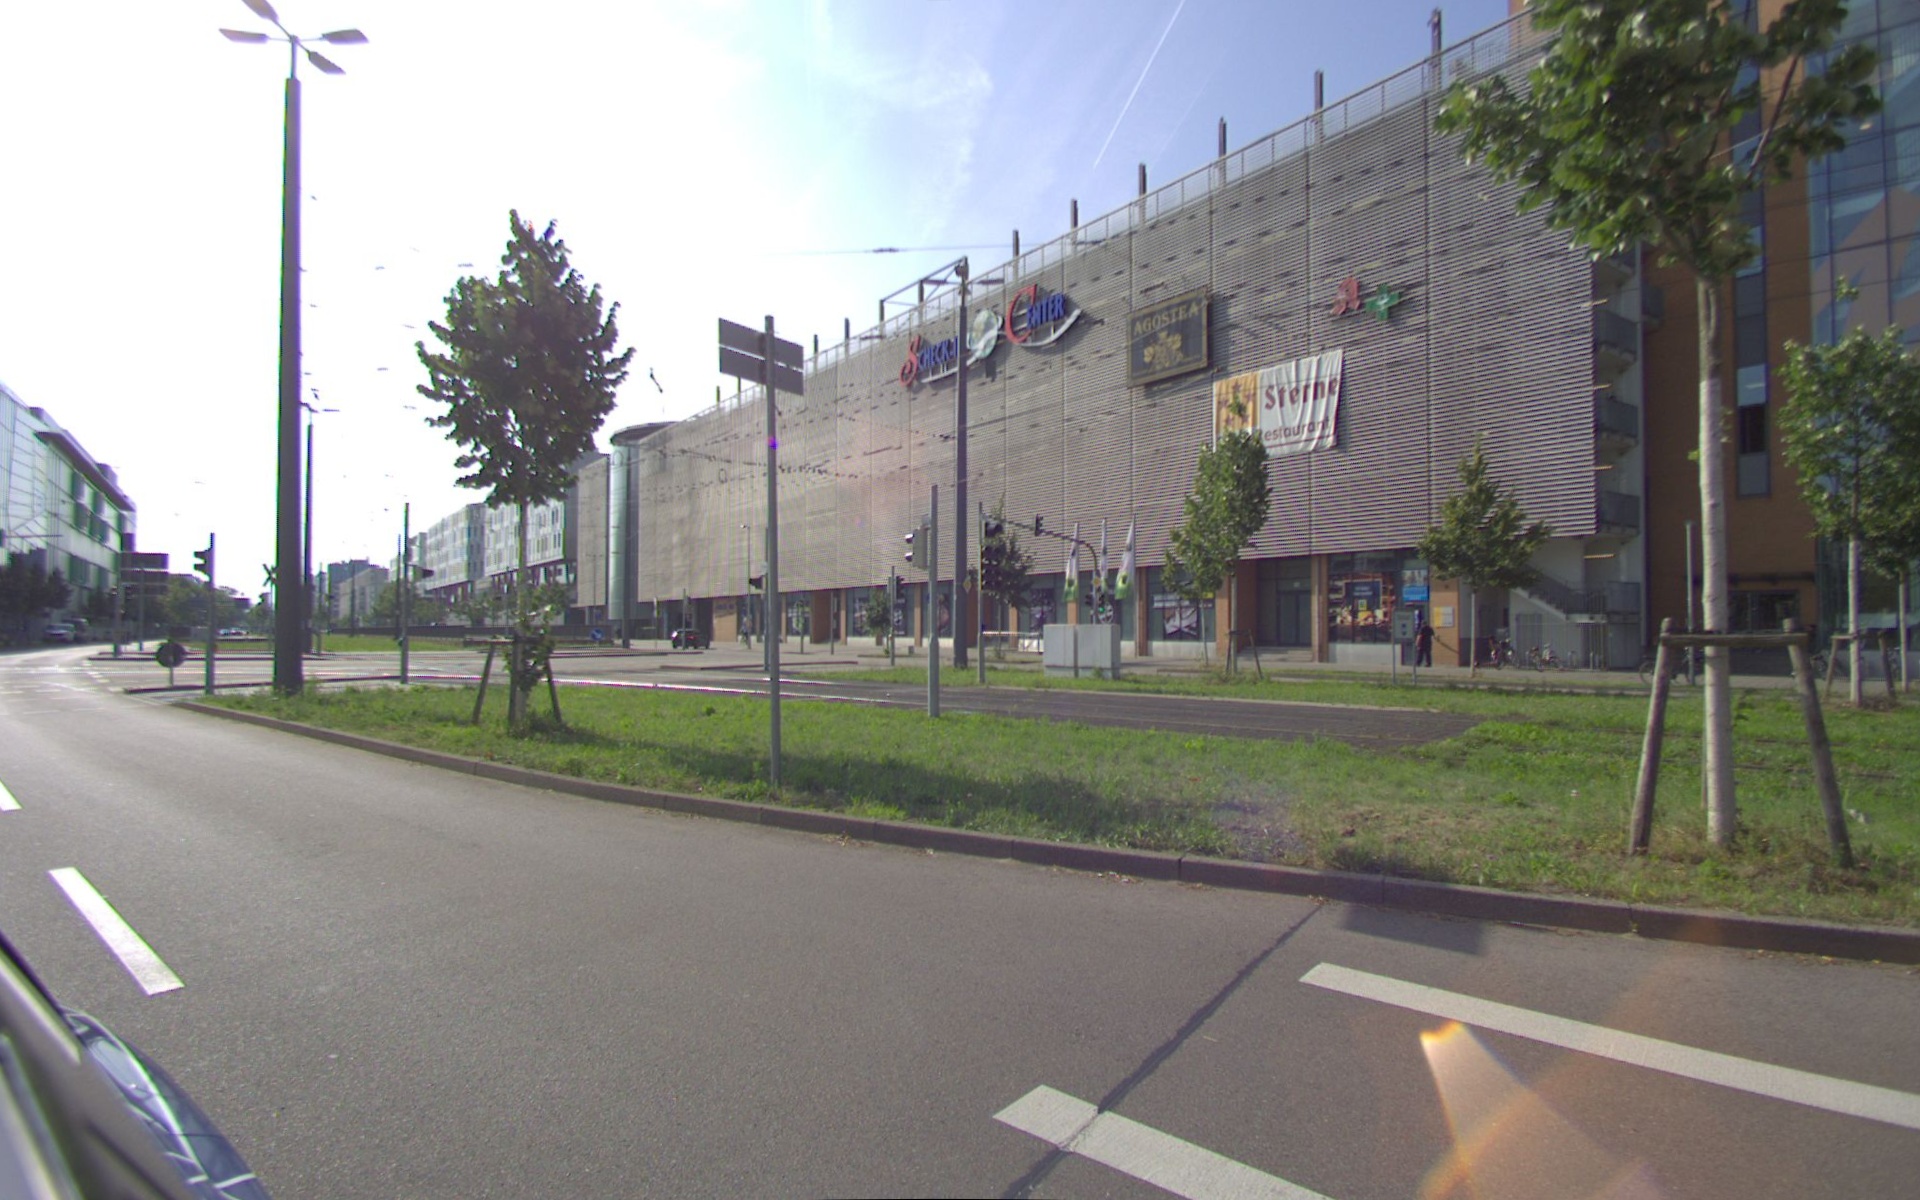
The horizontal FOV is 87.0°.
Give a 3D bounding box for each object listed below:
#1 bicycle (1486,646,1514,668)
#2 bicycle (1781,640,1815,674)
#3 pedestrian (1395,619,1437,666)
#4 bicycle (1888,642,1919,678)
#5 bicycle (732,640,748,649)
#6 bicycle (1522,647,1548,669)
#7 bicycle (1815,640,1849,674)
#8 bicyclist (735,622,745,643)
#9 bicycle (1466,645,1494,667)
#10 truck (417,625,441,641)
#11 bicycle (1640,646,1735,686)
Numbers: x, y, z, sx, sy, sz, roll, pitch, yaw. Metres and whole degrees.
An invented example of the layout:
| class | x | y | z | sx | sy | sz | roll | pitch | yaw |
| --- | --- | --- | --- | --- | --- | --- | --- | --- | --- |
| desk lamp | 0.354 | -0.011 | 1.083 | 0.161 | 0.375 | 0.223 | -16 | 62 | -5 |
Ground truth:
| class | x | y | z | sx | sy | sz | roll | pitch | yaw |
| --- | --- | --- | --- | --- | --- | --- | --- | --- | --- |
| bicycle | 19.208 | 2.018 | 35.998 | 0.989 | 0.758 | 0.453 | 1 | -2 | -35 |
| bicycle | 24.911 | 1.683 | 30.069 | 1.558 | 0.947 | 0.412 | 1 | -2 | -37 |
| pedestrian | 17.376 | 1.614 | 38.598 | 0.806 | 1.732 | 1.179 | 1 | -2 | -36 |
| bicycle | 26.345 | 1.662 | 28.206 | 1.558 | 0.947 | 0.412 | 1 | -2 | -37 |
| bicycle | -17.982 | 3.627 | 82.609 | 0.573 | 0.785 | 1.873 | 1 | -2 | -36 |
| bicycle | 19.888 | 2.005 | 35.015 | 1.007 | 0.758 | 0.362 | 1 | -2 | -35 |
| bicycle | 25.387 | 1.659 | 29.456 | 1.558 | 0.947 | 0.412 | 1 | -2 | -37 |
| bicyclist | -17.957 | 2.657 | 82.624 | 0.559 | 1.642 | 0.716 | 2 | -1 | -37 |
| bicycle | 18.817 | 2.026 | 36.619 | 0.989 | 0.758 | 0.453 | 1 | -2 | -35 |
| truck | -80.813 | 5.047 | 154.001 | 2.173 | 2.340 | 4.558 | 1 | -2 | -40 |
| bicycle | 20.171 | 1.804 | 28.106 | 0.438 | 0.995 | 2.171 | 2 | -1 | -27 |
